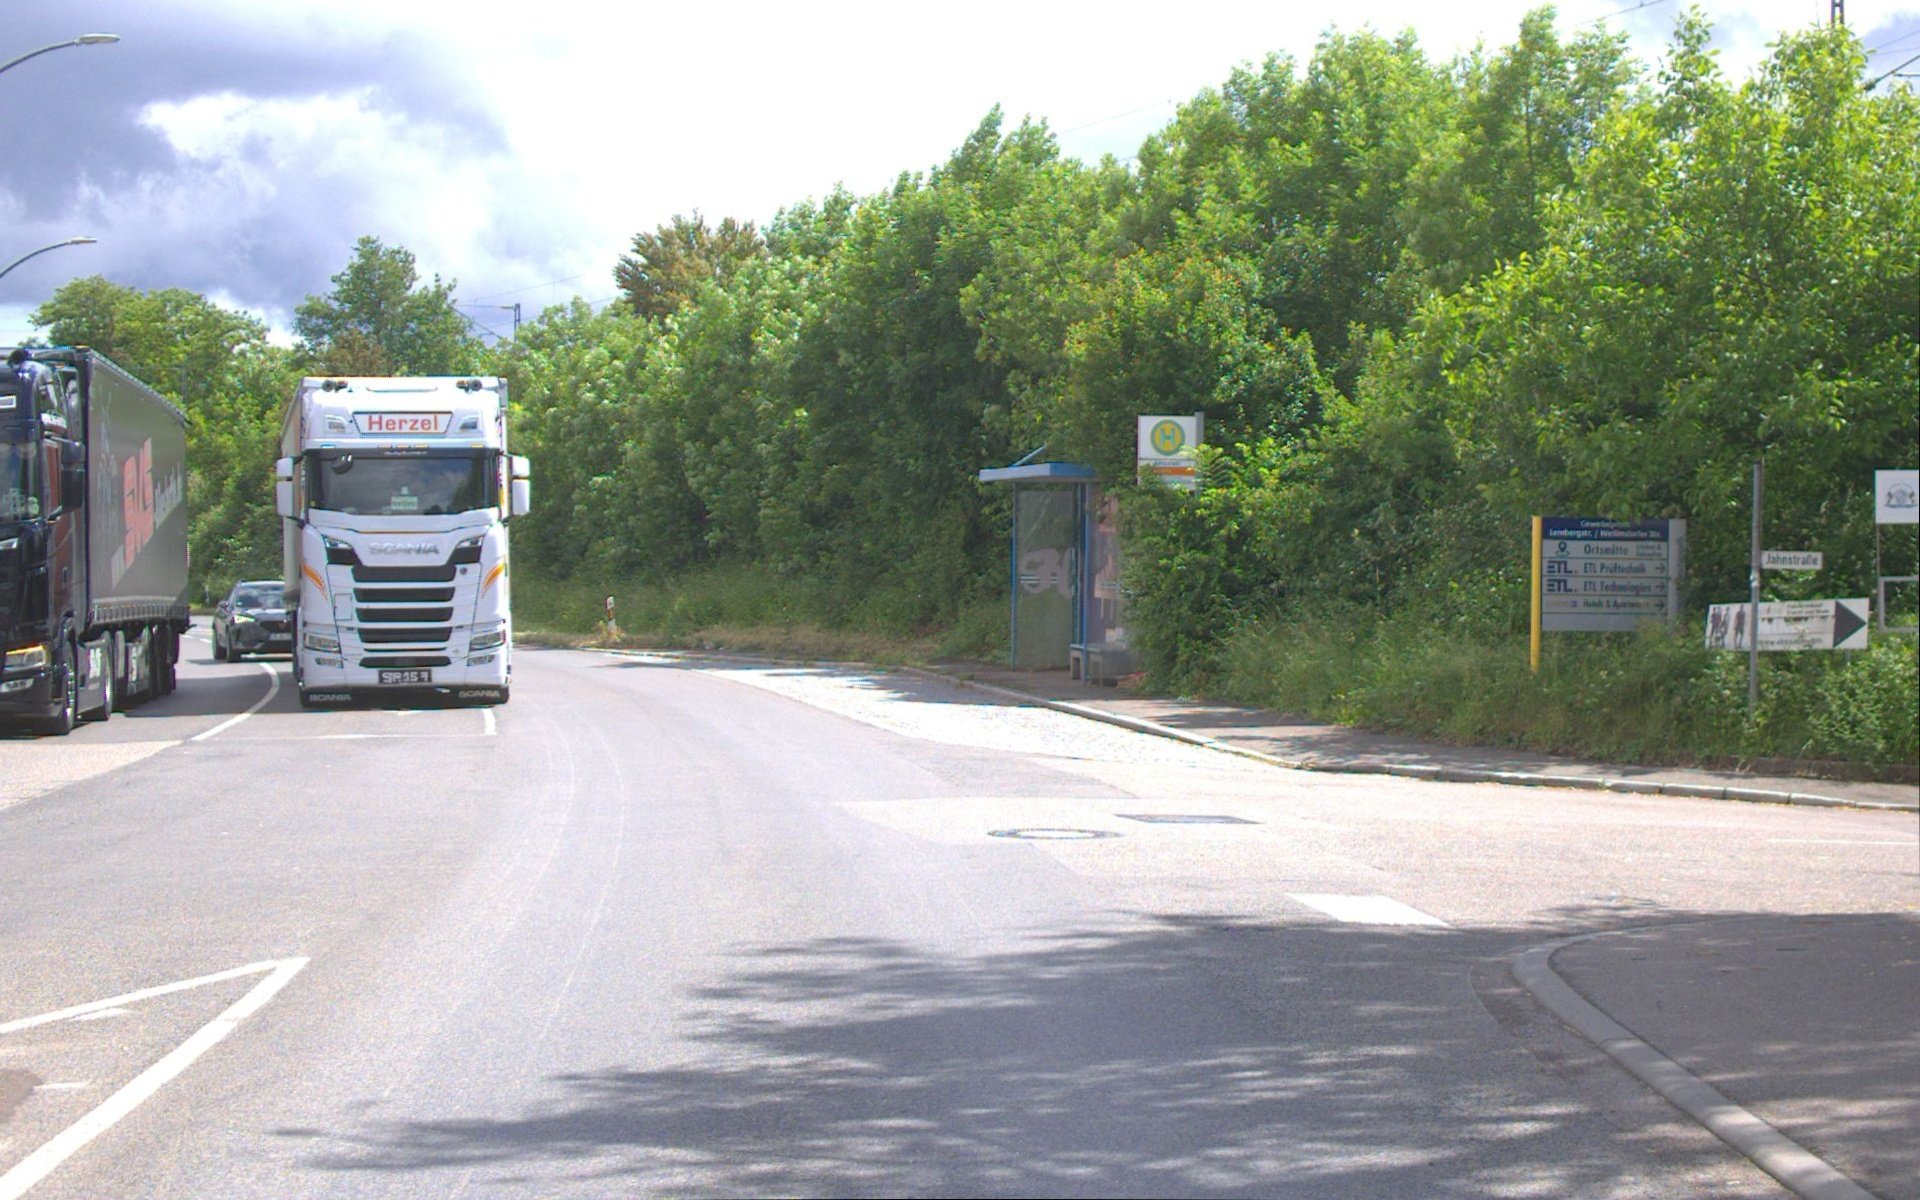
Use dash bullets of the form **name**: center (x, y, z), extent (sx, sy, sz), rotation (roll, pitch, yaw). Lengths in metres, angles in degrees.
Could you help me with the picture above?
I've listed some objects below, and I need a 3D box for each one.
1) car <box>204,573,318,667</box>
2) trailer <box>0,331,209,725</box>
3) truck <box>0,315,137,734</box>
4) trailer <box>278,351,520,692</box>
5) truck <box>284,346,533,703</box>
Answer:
- **car**: center (-13.287, 0.362, 65.201), extent (1.993, 1.700, 4.001), rotation (1, 0, -13)
- **trailer**: center (-11.434, -0.777, 42.987), extent (2.798, 4.039, 15.559), rotation (1, 0, -8)
- **truck**: center (-10.454, -0.752, 36.284), extent (2.798, 4.039, 6.502), rotation (1, 0, -8)
- **trailer**: center (-8.349, -0.984, 49.608), extent (2.770, 4.131, 15.355), rotation (1, 0, -12)
- **truck**: center (-6.906, -0.879, 42.540), extent (2.770, 4.105, 4.988), rotation (1, 0, -12)
